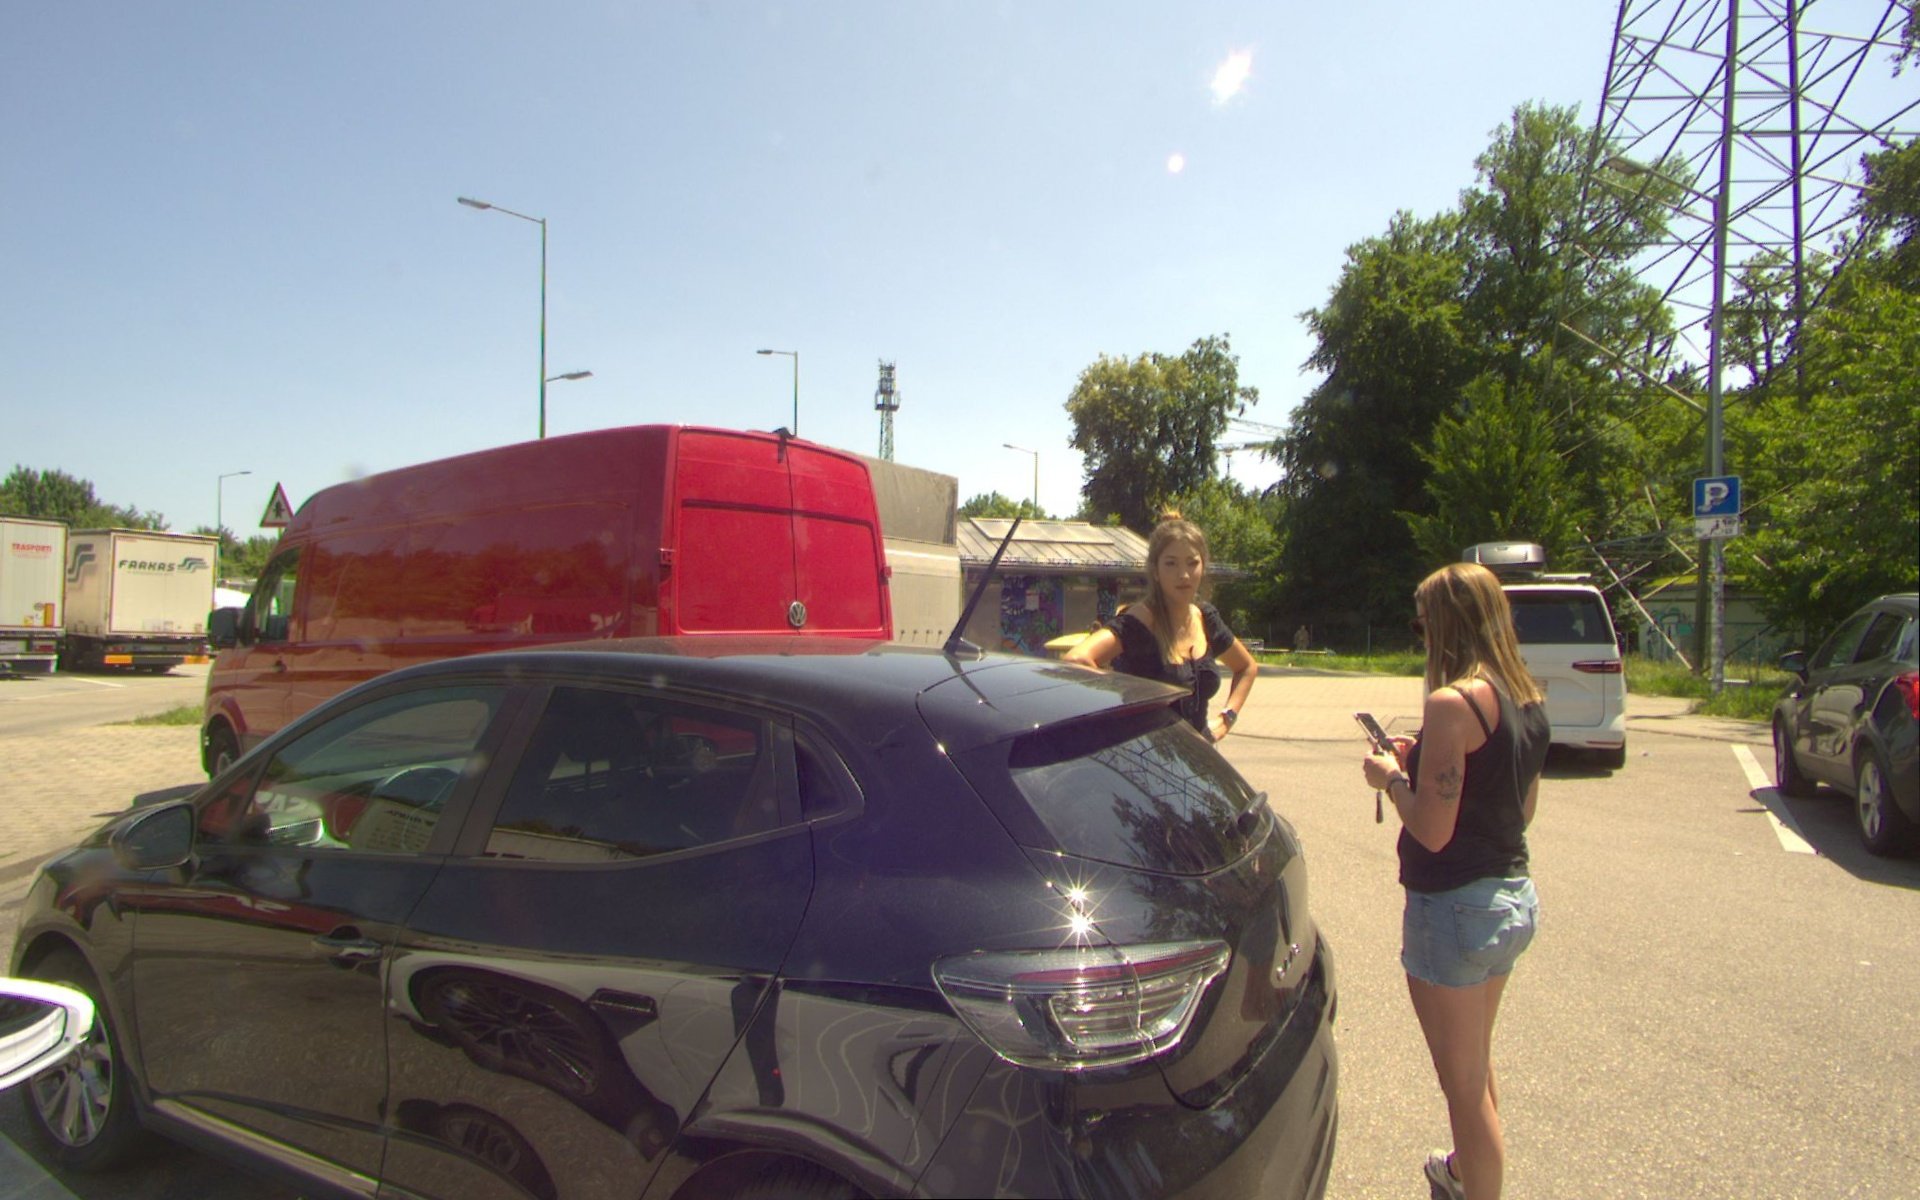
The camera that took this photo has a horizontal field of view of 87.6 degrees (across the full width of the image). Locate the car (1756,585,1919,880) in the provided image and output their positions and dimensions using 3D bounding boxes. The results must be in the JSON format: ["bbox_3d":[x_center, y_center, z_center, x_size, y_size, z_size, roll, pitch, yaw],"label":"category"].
[{"bbox_3d":[7.071,0.791,6.934,1.811,1.638,4.150,0,-1,30],"label":"car"}]

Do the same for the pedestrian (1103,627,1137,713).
[{"bbox_3d":[2.577,1.115,16.150,0.439,1.362,0.477,0,0,23],"label":"pedestrian"}]

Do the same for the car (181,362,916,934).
[{"bbox_3d":[-3.404,0.250,7.352,6.298,2.668,1.988,0,-1,36],"label":"car"}]

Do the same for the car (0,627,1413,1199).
[{"bbox_3d":[-0.784,0.831,2.775,3.629,1.476,1.776,-1,-2,28],"label":"car"}]

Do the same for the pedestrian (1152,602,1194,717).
[{"bbox_3d":[3.389,0.934,15.907,0.520,1.783,0.651,0,0,23],"label":"pedestrian"}]

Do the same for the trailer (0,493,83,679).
[{"bbox_3d":[-28.507,-0.343,27.803,12.642,4.511,2.677,0,-1,32],"label":"trailer"}]

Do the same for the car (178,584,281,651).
[{"bbox_3d":[-29.952,0.751,41.028,3.943,2.632,2.111,-1,-2,32],"label":"car"}]

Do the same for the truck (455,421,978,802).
[{"bbox_3d":[-2.483,0.171,9.910,4.751,2.863,2.514,-1,-2,34],"label":"truck"}]

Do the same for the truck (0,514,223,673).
[{"bbox_3d":[-27.089,-0.013,31.186,11.800,4.279,2.582,-1,-2,32],"label":"truck"}]

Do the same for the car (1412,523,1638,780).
[{"bbox_3d":[6.692,0.542,11.981,1.901,2.401,4.954,1,-1,29],"label":"car"}]

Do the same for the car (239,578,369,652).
[{"bbox_3d":[-29.483,0.657,44.945,6.259,3.114,2.495,0,-1,32],"label":"car"}]

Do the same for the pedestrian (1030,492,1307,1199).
[{"bbox_3d":[0.686,0.667,3.162,0.481,1.884,0.906,0,-1,39],"label":"pedestrian"}]

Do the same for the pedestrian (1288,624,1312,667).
[{"bbox_3d":[16.075,2.155,47.345,0.955,2.039,0.829,0,-1,10],"label":"pedestrian"}]

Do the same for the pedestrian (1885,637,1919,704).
[{"bbox_3d":[17.302,1.254,18.023,0.694,1.178,0.787,-1,-1,22],"label":"pedestrian"}]

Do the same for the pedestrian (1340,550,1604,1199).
[{"bbox_3d":[1.166,0.716,2.299,0.478,1.615,0.501,0,0,29],"label":"pedestrian"}]

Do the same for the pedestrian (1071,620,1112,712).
[{"bbox_3d":[2.153,1.063,16.351,0.521,1.478,0.576,0,0,23],"label":"pedestrian"}]
